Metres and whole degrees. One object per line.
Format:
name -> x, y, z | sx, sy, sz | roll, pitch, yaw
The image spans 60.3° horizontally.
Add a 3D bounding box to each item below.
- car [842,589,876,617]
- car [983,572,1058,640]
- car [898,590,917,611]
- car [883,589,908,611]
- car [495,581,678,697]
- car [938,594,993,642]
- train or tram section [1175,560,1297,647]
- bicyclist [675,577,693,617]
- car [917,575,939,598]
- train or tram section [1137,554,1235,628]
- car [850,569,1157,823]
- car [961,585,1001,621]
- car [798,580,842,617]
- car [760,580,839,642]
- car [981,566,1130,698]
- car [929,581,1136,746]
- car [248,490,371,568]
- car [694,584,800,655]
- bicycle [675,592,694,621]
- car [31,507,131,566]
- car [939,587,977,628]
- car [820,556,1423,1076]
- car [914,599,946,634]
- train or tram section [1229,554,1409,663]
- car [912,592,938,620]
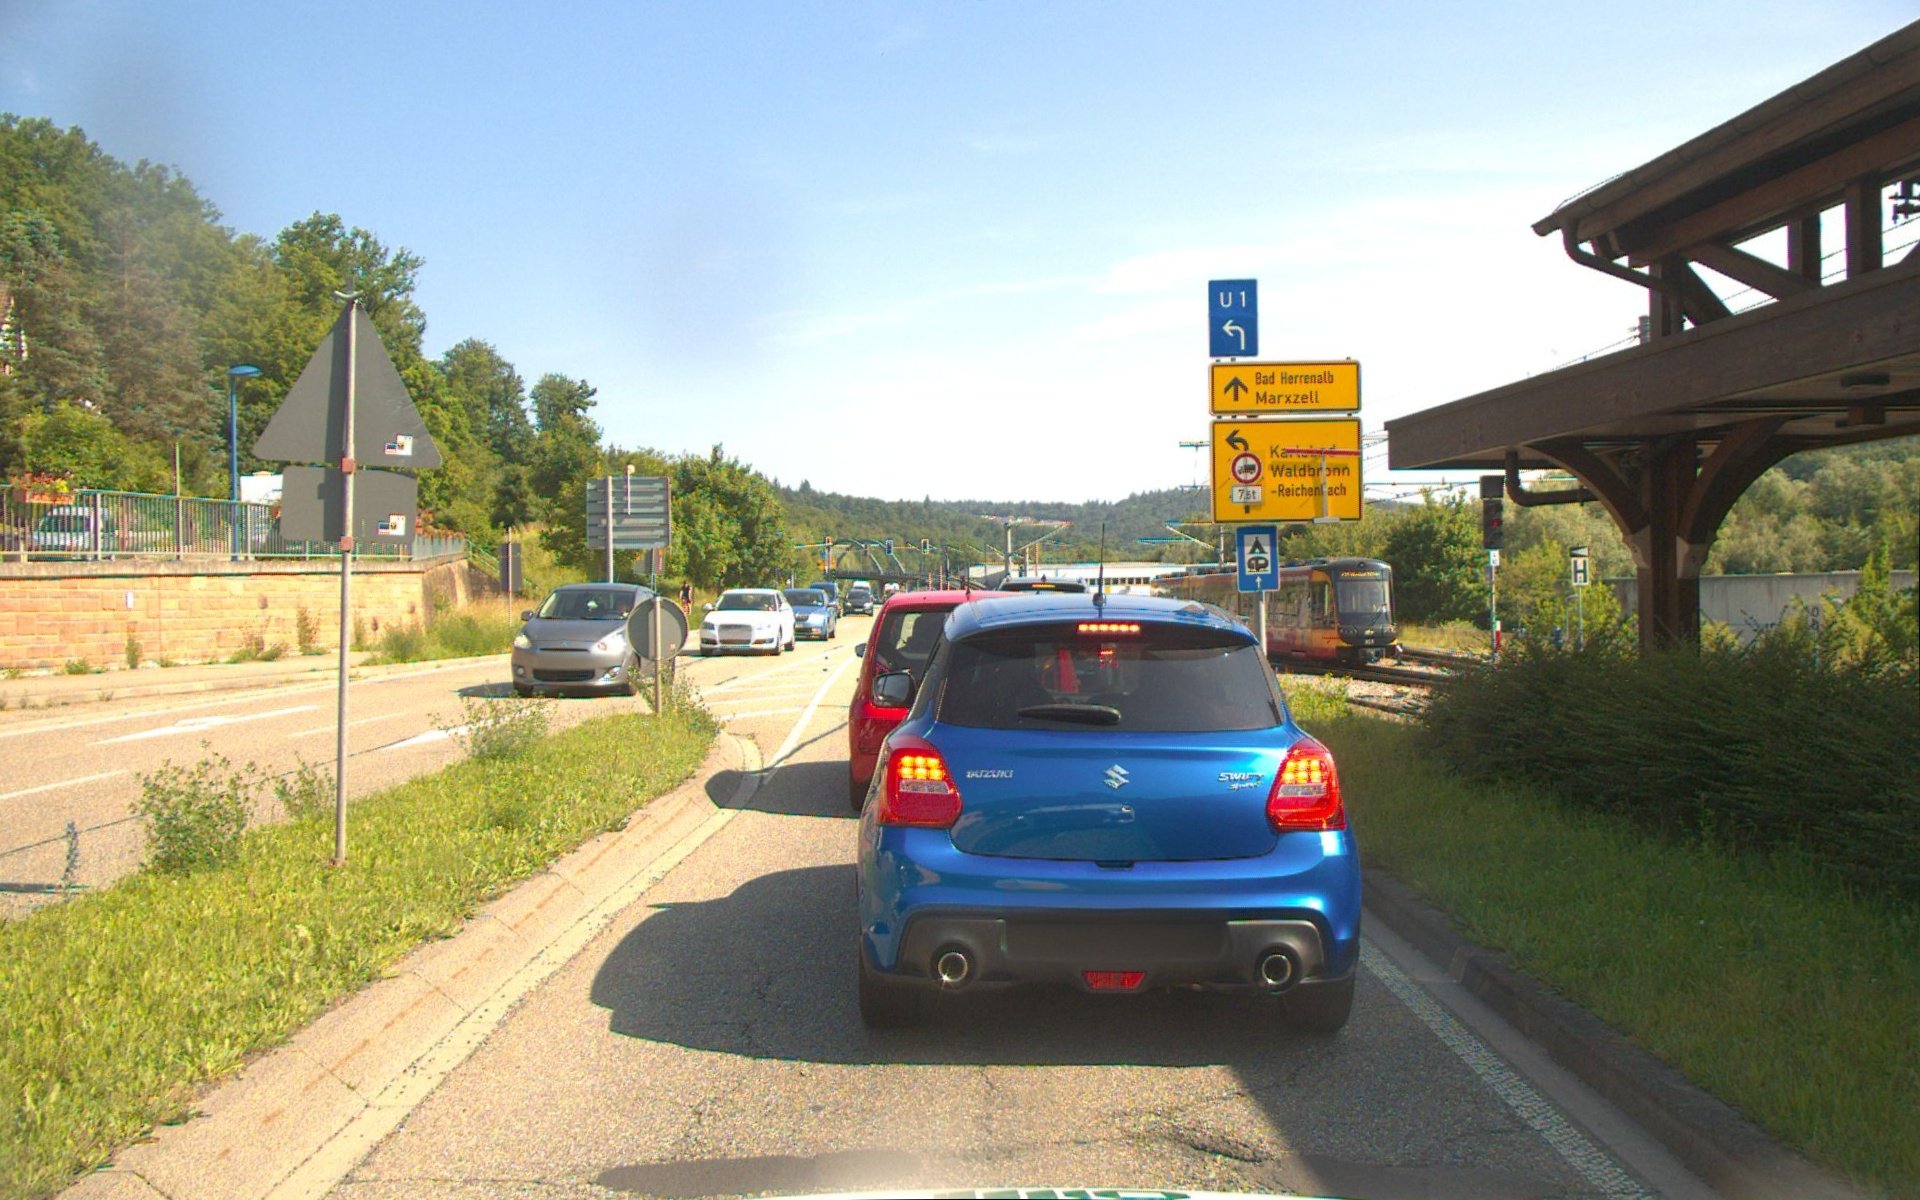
car -> -5.816, 0.158, 95.339 | 1.795, 1.456, 3.810 | 2, 1, -2
car -> 1.660, 0.140, 46.714 | 1.952, 1.766, 4.000 | 2, 1, 1
car -> -5.625, 0.026, 178.584 | 1.953, 2.048, 4.000 | 2, 1, -1
car -> -5.460, -0.012, 140.016 | 1.953, 1.814, 3.999 | 1, 0, -1
car -> -5.121, 0.495, 23.169 | 1.637, 1.466, 3.840 | 1, 0, 1
car -> 0.213, 0.588, 57.439 | 1.794, 1.456, 3.812 | 2, 1, 1
train or tram section -> 11.879, 0.153, 72.422 | 2.731, 3.423, 12.041 | 2, 0, -3
bicyclist -> -10.888, -0.112, 65.290 | 0.617, 1.533, 0.505 | 2, 1, -4
car -> -2.948, -1.255, 152.349 | 1.953, 2.048, 4.000 | 2, 1, -1
train or tram section -> 11.350, -0.478, 84.299 | 2.701, 3.423, 12.042 | 2, 1, -3
car -> 0.308, 0.618, 12.707 | 1.952, 1.598, 4.000 | 1, 0, 1
car -> 1.007, 0.137, 77.279 | 1.794, 1.519, 3.812 | 2, 1, 1
car -> -7.065, -0.102, 83.908 | 1.795, 1.743, 3.811 | 2, 1, 1
car -> -4.558, 0.283, 47.480 | 1.795, 1.493, 3.812 | 2, 3, 1
car -> 1.314, 0.409, 24.548 | 1.952, 1.716, 4.497 | 2, 1, 1
car -> 0.722, 0.581, 17.981 | 1.952, 1.558, 4.602 | 0, 1, 1
car -> -17.733, -1.898, 45.295 | 1.982, 1.953, 4.724 | 2, 1, -7
car -> -4.694, 0.398, 36.918 | 1.795, 1.393, 3.950 | 1, 1, 1
bicycle -> -10.900, 0.253, 65.357 | 0.555, 1.061, 1.550 | 2, 1, -4
car -> -26.151, -1.855, 49.338 | 1.864, 1.658, 3.982 | 0, 1, -16
car -> -0.149, 0.379, 90.873 | 1.953, 2.048, 4.000 | 2, 1, -1
car -> 0.447, 0.647, 7.039 | 1.830, 1.575, 3.999 | 1, 0, -2
car -> -1.965, 1.061, 108.867 | 1.953, 2.048, 4.000 | 2, 1, -1
train or tram section -> 12.507, 0.230, 59.409 | 2.798, 3.423, 14.348 | 1, 0, -2
car -> -2.744, 0.452, 131.321 | 1.953, 2.048, 4.000 | 2, 1, -1
